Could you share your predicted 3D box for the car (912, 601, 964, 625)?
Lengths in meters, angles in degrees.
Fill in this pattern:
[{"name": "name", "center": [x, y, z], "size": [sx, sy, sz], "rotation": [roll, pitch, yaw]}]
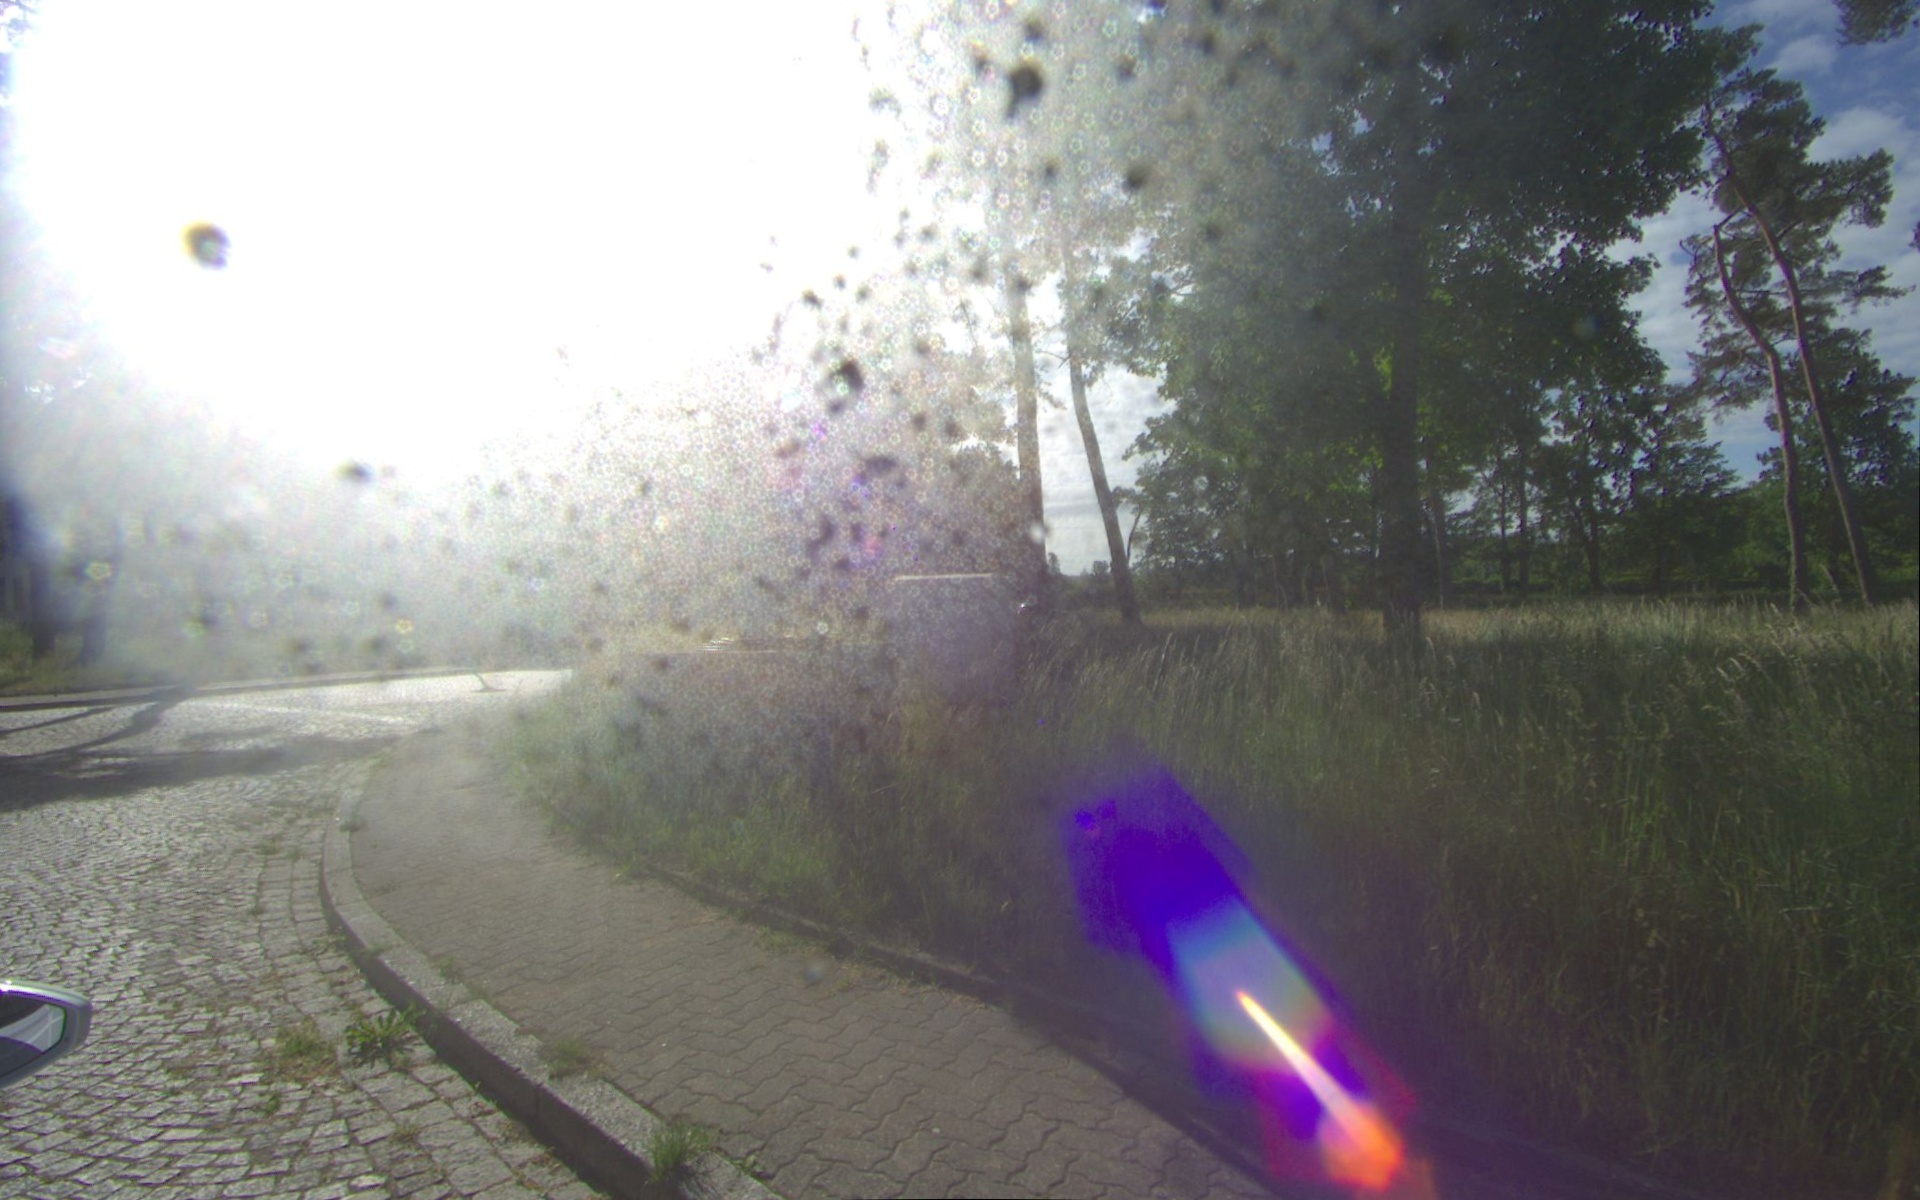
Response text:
[{"name": "car", "center": [-1.403, 0.817, 65.161], "size": [1.817, 1.483, 3.986], "rotation": [-1, 0, 25]}]
